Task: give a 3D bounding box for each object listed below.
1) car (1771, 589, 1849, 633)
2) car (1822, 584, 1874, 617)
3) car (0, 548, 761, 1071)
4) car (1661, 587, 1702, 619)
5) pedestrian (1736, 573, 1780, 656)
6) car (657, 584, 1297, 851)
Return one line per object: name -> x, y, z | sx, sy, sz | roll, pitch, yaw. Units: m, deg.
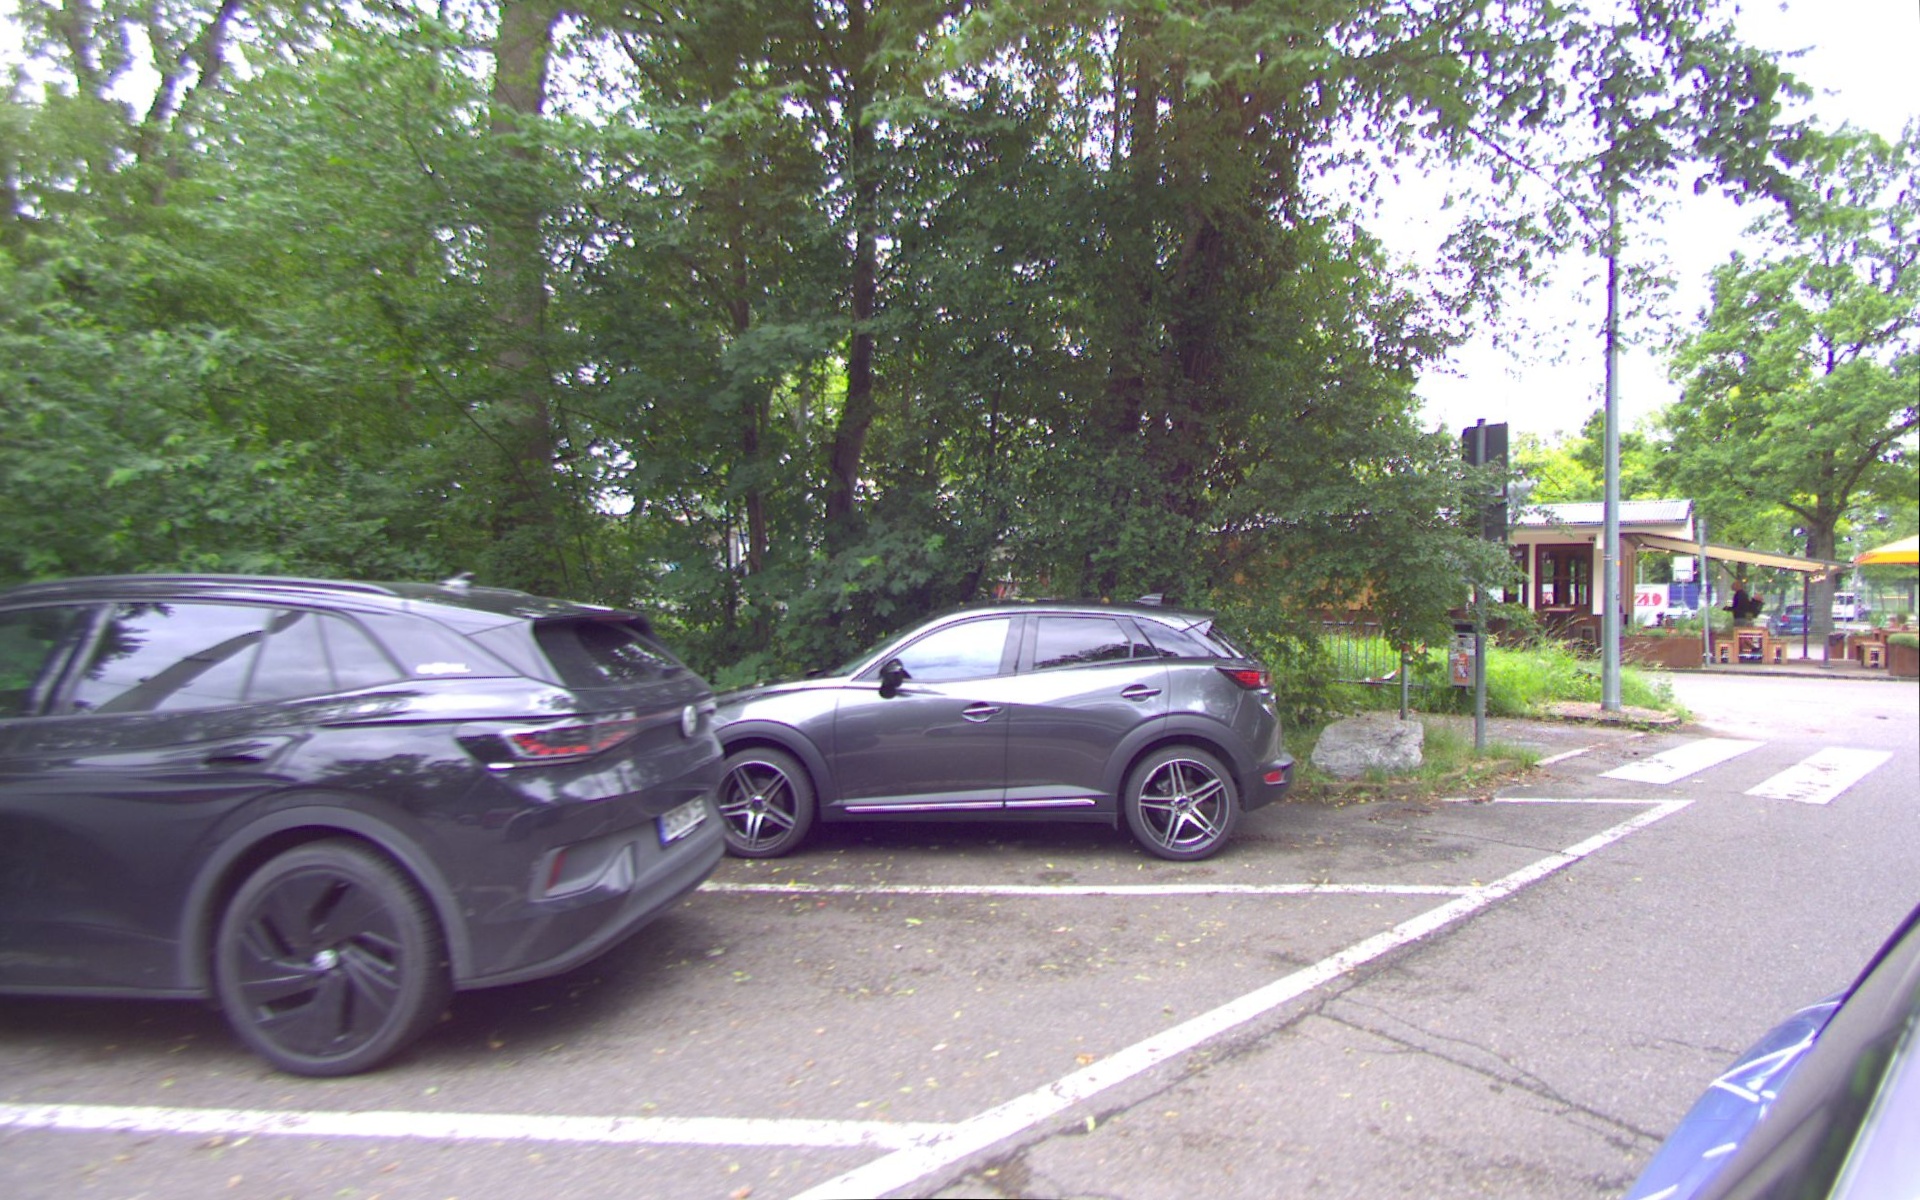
car -> 31.951, 0.382, 38.138 | 1.988, 1.571, 3.948 | 0, 0, 36
car -> 57.348, -0.002, 65.447 | 1.864, 2.065, 4.536 | 0, 0, 33
car -> -3.104, 0.643, 4.213 | 4.127, 1.600, 1.956 | 0, 0, 4
car -> 46.978, 0.194, 65.955 | 1.986, 2.039, 3.953 | 0, 0, 33
pedestrian -> 18.298, 0.323, 23.211 | 0.747, 1.854, 0.699 | 0, 0, 42
car -> 0.106, 0.666, 6.731 | 3.724, 1.511, 1.697 | 0, 0, 5
